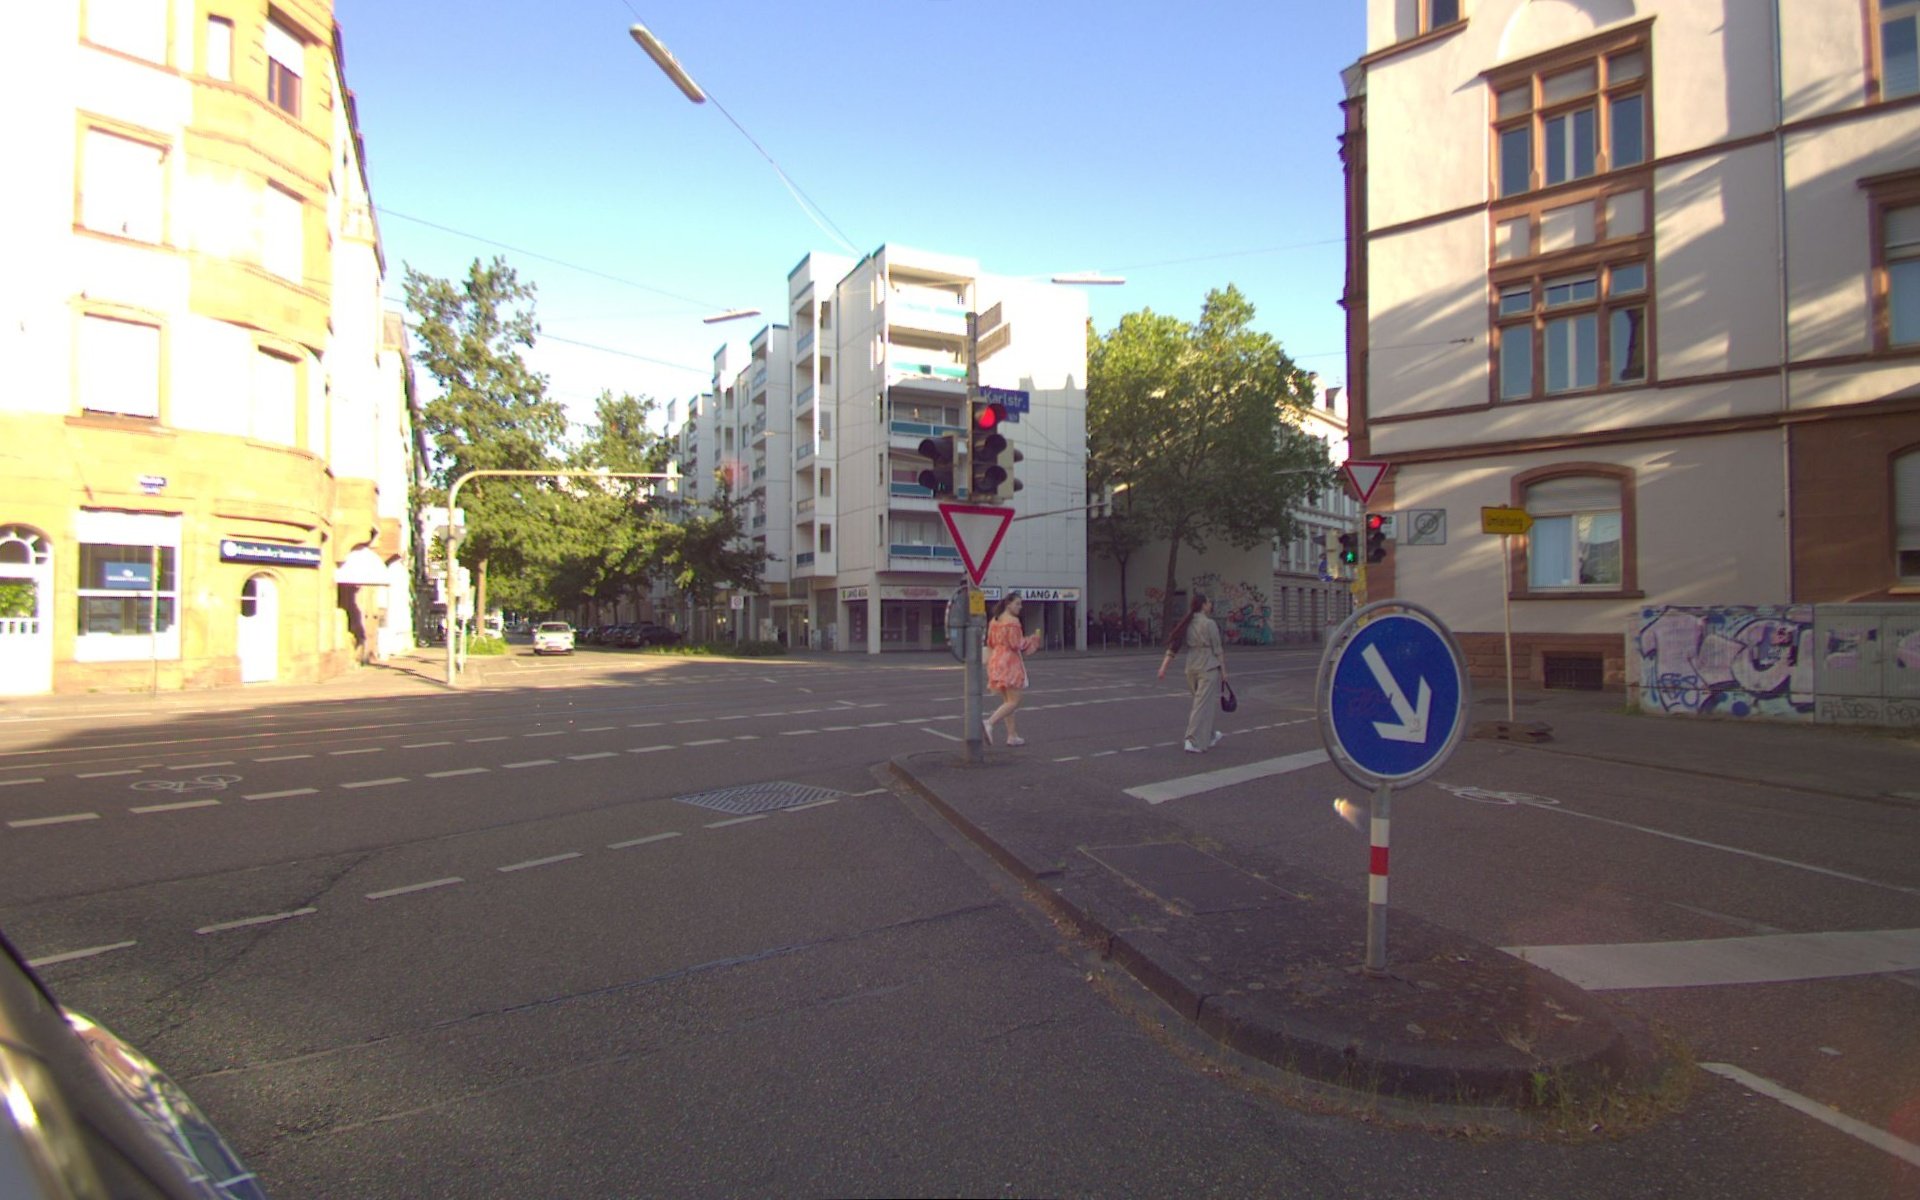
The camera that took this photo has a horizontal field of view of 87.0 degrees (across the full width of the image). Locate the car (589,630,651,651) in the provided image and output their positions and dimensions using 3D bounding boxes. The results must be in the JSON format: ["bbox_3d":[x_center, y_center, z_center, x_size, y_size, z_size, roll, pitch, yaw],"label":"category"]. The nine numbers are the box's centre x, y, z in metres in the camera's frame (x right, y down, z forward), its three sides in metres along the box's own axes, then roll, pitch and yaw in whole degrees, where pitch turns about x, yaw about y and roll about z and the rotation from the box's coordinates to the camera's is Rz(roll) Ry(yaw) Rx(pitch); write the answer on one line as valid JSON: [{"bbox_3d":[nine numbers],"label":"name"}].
[{"bbox_3d":[-26.574,3.151,79.192,4.232,1.597,2.006,1,-2,-33],"label":"car"}]

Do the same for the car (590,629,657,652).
[{"bbox_3d":[-24.387,2.895,73.405,4.232,1.597,2.005,1,-2,-34],"label":"car"}]

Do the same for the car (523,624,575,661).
[{"bbox_3d":[-20.536,2.089,50.489,1.965,1.763,4.012,1,-2,-29],"label":"car"}]

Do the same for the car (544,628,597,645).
[{"bbox_3d":[-36.332,3.406,94.417,4.232,1.597,2.006,1,-2,-33],"label":"car"}]

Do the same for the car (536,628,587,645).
[{"bbox_3d":[-38.040,3.470,96.704,4.232,1.597,2.006,1,-2,-33],"label":"car"}]

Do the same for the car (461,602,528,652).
[{"bbox_3d":[-32.011,1.867,69.388,3.269,3.203,8.106,1,-2,-31],"label":"car"}]

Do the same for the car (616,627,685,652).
[{"bbox_3d":[-20.491,2.621,67.045,3.933,1.597,2.005,1,-2,-34],"label":"car"}]

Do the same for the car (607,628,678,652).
[{"bbox_3d":[-21.699,2.715,69.180,4.232,1.597,2.005,1,-2,-34],"label":"car"}]

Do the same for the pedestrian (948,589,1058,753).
[{"bbox_3d":[0.484,0.753,11.189,0.866,1.710,0.974,-1,-2,31],"label":"pedestrian"}]

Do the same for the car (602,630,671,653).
[{"bbox_3d":[-22.826,2.895,71.518,4.232,1.597,2.005,1,-2,-34],"label":"car"}]

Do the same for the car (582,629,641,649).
[{"bbox_3d":[-28.243,3.157,82.037,4.232,1.597,2.006,1,-2,-33],"label":"car"}]

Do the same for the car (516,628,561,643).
[{"bbox_3d":[-45.691,3.830,109.772,4.232,1.597,2.006,1,-2,-33],"label":"car"}]

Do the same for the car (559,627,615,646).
[{"bbox_3d":[-32.507,3.170,88.274,4.232,1.597,2.006,1,-2,-33],"label":"car"}]

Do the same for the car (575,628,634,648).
[{"bbox_3d":[-29.519,3.161,84.095,4.232,1.597,2.006,1,-2,-33],"label":"car"}]

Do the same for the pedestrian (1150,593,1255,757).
[{"bbox_3d":[2.690,0.795,11.182,0.866,1.710,0.974,-1,-2,31],"label":"pedestrian"}]
